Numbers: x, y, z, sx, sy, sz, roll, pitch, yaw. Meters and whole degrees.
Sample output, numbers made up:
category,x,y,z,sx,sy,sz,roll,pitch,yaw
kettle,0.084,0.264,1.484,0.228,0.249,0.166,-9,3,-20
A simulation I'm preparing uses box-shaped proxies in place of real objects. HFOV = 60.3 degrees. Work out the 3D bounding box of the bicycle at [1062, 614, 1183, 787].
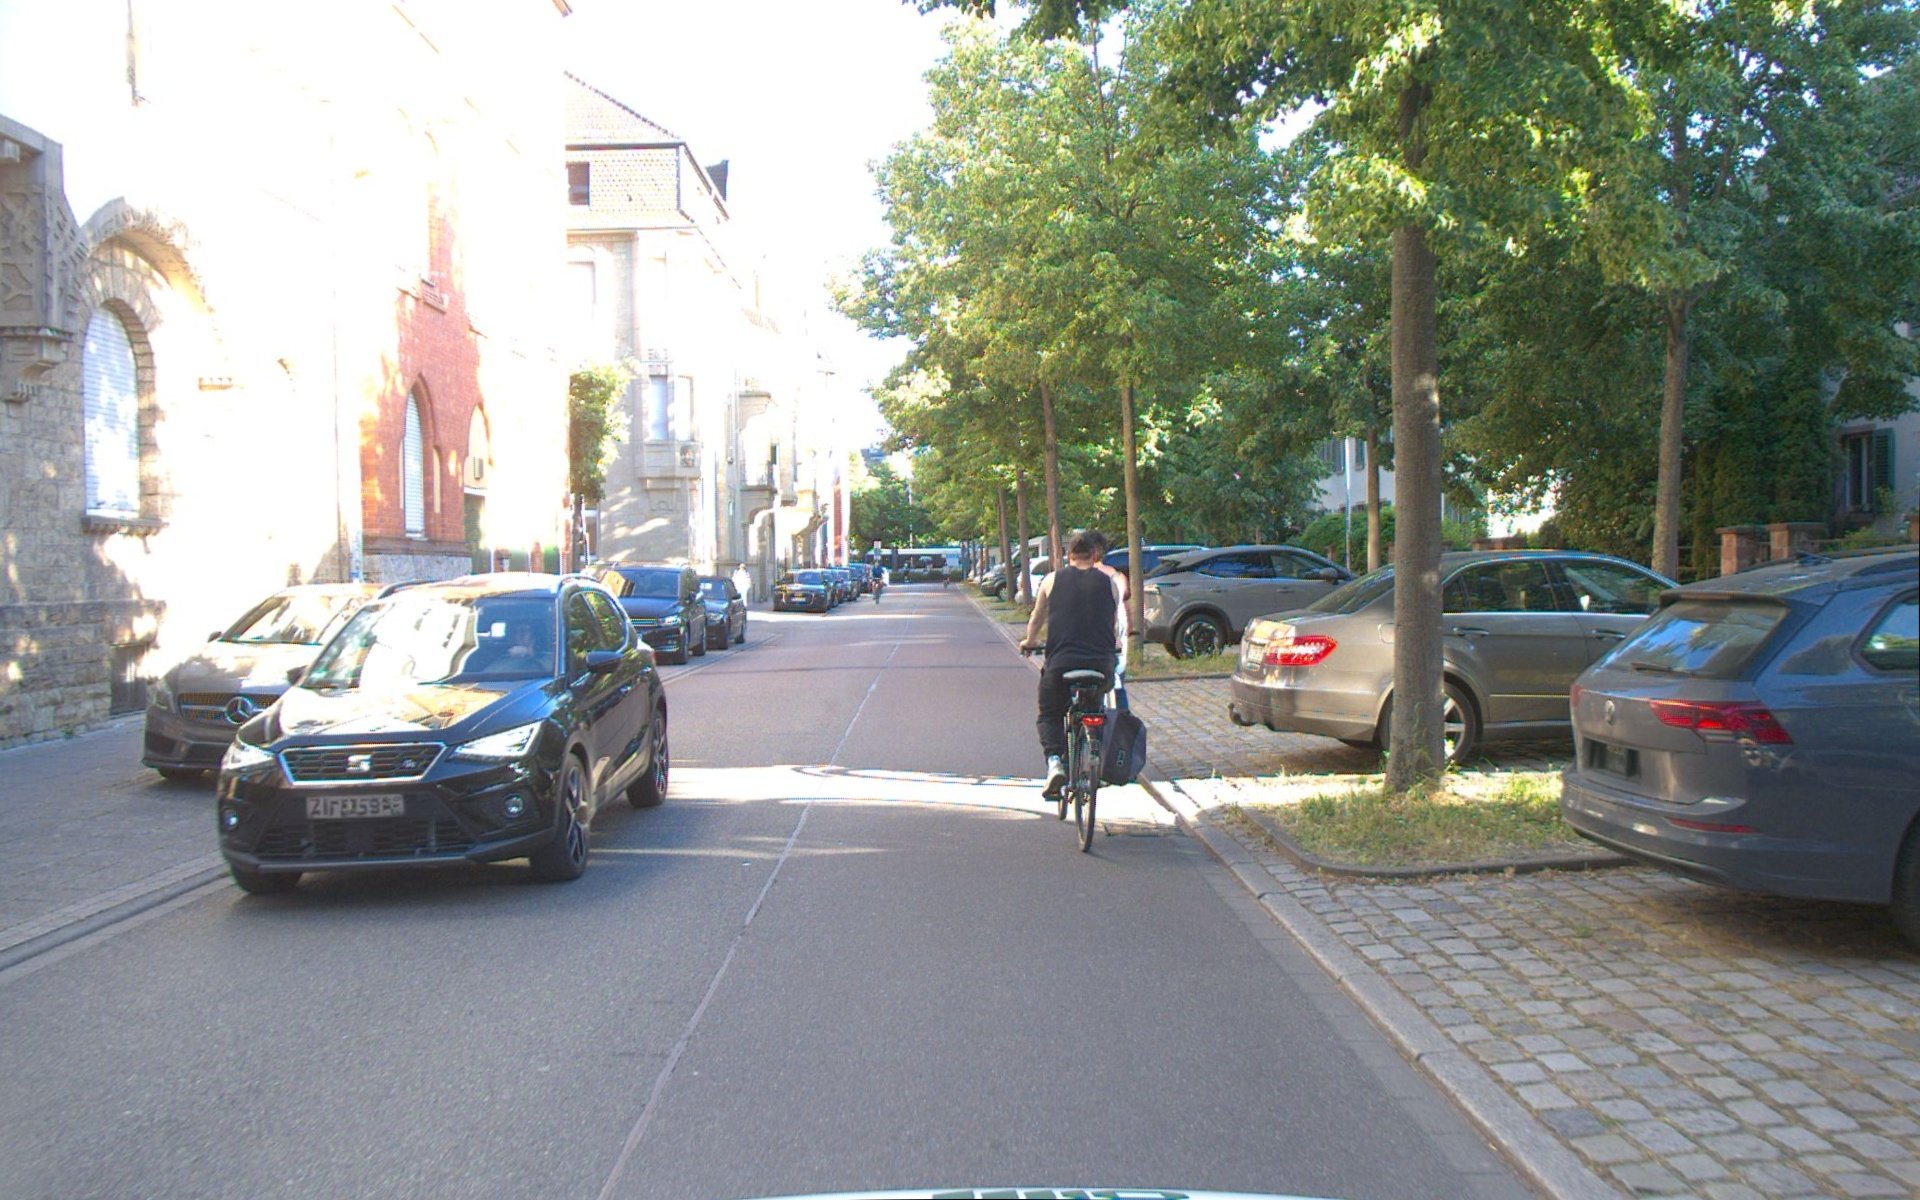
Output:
category,x,y,z,sx,sy,sz,roll,pitch,yaw
bicycle,1.151,0.682,12.052,0.544,1.091,1.967,-1,1,-4

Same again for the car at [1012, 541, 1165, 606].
category,x,y,z,sx,sy,sz,roll,pitch,yaw
car,4.016,-0.834,52.274,4.659,1.811,1.855,-2,0,0

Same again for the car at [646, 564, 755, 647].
category,x,y,z,sx,sy,sz,roll,pitch,yaw
car,-5.213,0.083,33.657,1.583,1.508,4.018,3,1,-1

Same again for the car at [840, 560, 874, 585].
category,x,y,z,sx,sy,sz,roll,pitch,yaw
car,-6.735,-1.800,108.488,1.953,1.557,3.999,-1,0,-1

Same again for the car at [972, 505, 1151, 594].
category,x,y,z,sx,sy,sz,roll,pitch,yaw
car,4.166,-2.067,68.798,7.183,3.339,2.223,-2,0,0

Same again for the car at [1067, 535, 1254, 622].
category,x,y,z,sx,sy,sz,roll,pitch,yaw
car,4.692,-0.505,39.168,4.156,1.828,1.855,-2,0,0

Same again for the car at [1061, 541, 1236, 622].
category,x,y,z,sx,sy,sz,roll,pitch,yaw
car,4.716,-0.468,41.805,4.156,1.828,1.855,-2,0,0

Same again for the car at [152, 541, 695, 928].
category,x,y,z,sx,sy,sz,roll,pitch,yaw
car,-2.731,0.578,9.467,1.731,1.627,4.089,-4,1,-1

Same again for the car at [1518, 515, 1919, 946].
category,x,y,z,sx,sy,sz,roll,pitch,yaw
car,4.765,0.394,6.659,4.410,1.478,1.816,-2,0,0

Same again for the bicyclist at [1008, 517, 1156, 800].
category,x,y,z,sx,sy,sz,roll,pitch,yaw
bicyclist,0.692,0.320,9.629,0.692,1.553,0.971,-1,0,-5

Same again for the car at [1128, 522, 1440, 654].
category,x,y,z,sx,sy,sz,roll,pitch,yaw
car,4.643,-0.170,24.136,4.156,1.676,1.855,-2,0,0

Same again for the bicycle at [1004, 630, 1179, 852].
category,x,y,z,sx,sy,sz,roll,pitch,yaw
bicycle,0.706,0.742,9.507,0.682,1.091,1.967,-1,0,-5

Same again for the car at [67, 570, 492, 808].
category,x,y,z,sx,sy,sz,roll,pitch,yaw
car,-5.232,0.587,13.365,1.719,1.543,4.114,3,1,-1

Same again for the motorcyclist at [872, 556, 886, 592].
category,x,y,z,sx,sy,sz,roll,pitch,yaw
motorcyclist,-3.396,-1.090,69.664,0.540,1.473,0.688,-2,1,-3

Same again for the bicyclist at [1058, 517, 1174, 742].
category,x,y,z,sx,sy,sz,roll,pitch,yaw
bicyclist,1.117,0.205,11.987,0.704,1.553,0.972,-1,0,-2

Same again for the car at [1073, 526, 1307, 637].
category,x,y,z,sx,sy,sz,roll,pitch,yaw
car,4.313,-0.354,31.476,4.156,1.872,1.855,-2,0,0

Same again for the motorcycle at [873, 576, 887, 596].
category,x,y,z,sx,sy,sz,roll,pitch,yaw
motorcycle,-3.379,-0.602,69.671,0.540,0.815,1.307,-2,1,-3

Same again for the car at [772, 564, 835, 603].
category,x,y,z,sx,sy,sz,roll,pitch,yaw
car,-5.604,-0.575,59.636,1.931,1.343,3.999,-1,0,-1

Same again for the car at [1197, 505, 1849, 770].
category,x,y,z,sx,sy,sz,roll,pitch,yaw
car,4.002,0.242,12.183,4.160,1.634,1.752,-2,0,-4

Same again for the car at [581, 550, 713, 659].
category,x,y,z,sx,sy,sz,roll,pitch,yaw
car,-5.237,0.059,28.112,1.598,1.694,3.967,-1,0,-2

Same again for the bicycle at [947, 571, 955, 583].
category,x,y,z,sx,sy,sz,roll,pitch,yaw
bicycle,-0.640,-1.596,115.719,0.530,0.842,1.918,-1,0,-1

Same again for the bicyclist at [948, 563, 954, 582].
category,x,y,z,sx,sy,sz,roll,pitch,yaw
bicyclist,-0.635,-1.918,115.708,0.408,1.374,0.430,-1,0,-1

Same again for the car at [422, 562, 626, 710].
category,x,y,z,sx,sy,sz,roll,pitch,yaw
car,-5.167,0.374,20.041,1.461,1.543,3.774,3,1,-1

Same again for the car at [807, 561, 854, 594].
category,x,y,z,sx,sy,sz,roll,pitch,yaw
car,-6.194,-1.057,79.253,1.953,1.557,3.999,-1,0,-1
